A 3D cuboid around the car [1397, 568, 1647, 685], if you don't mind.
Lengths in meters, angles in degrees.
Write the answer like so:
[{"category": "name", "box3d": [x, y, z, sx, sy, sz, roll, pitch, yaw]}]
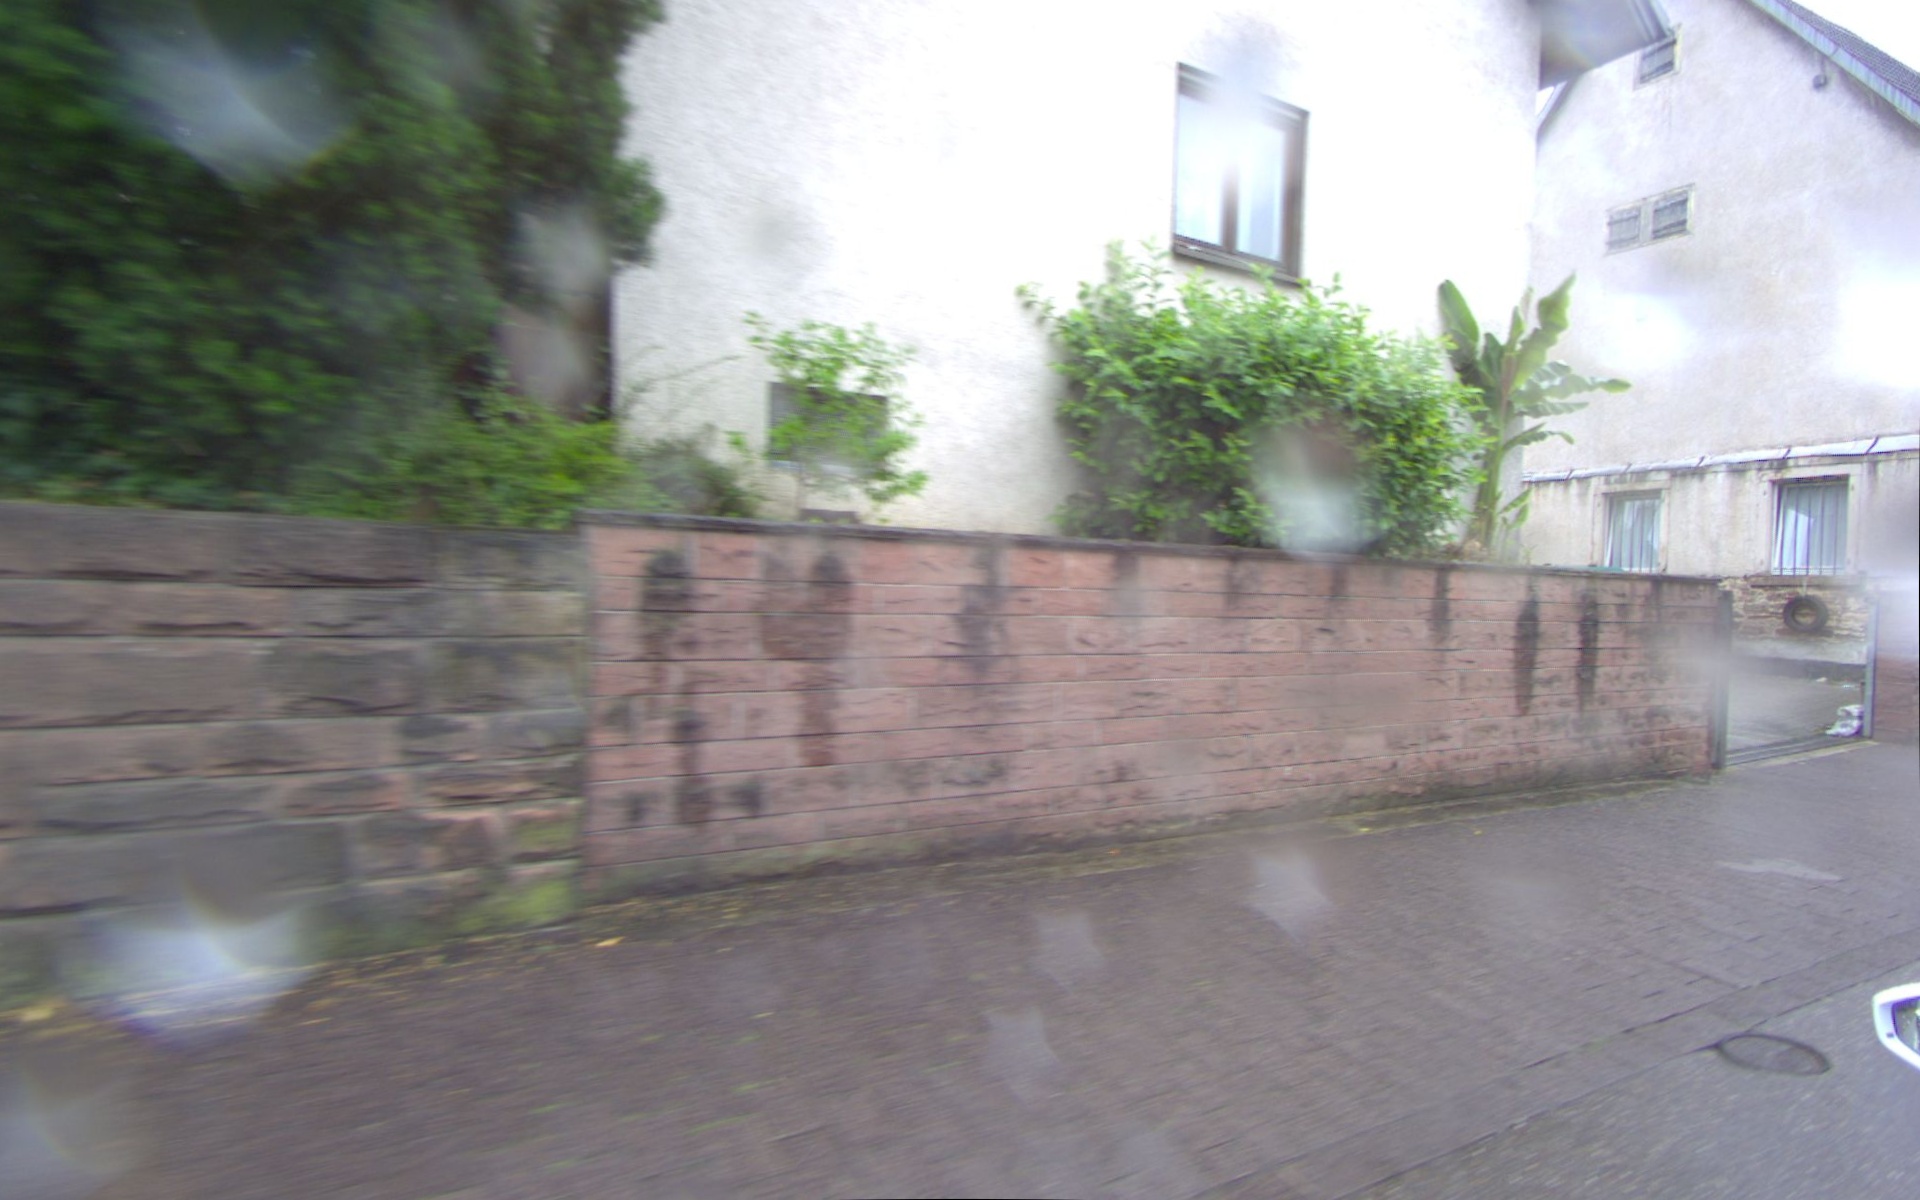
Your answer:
[{"category": "car", "box3d": [9.711, 0.344, 17.289, 4.256, 1.739, 1.975, -2, 3, -32]}]
